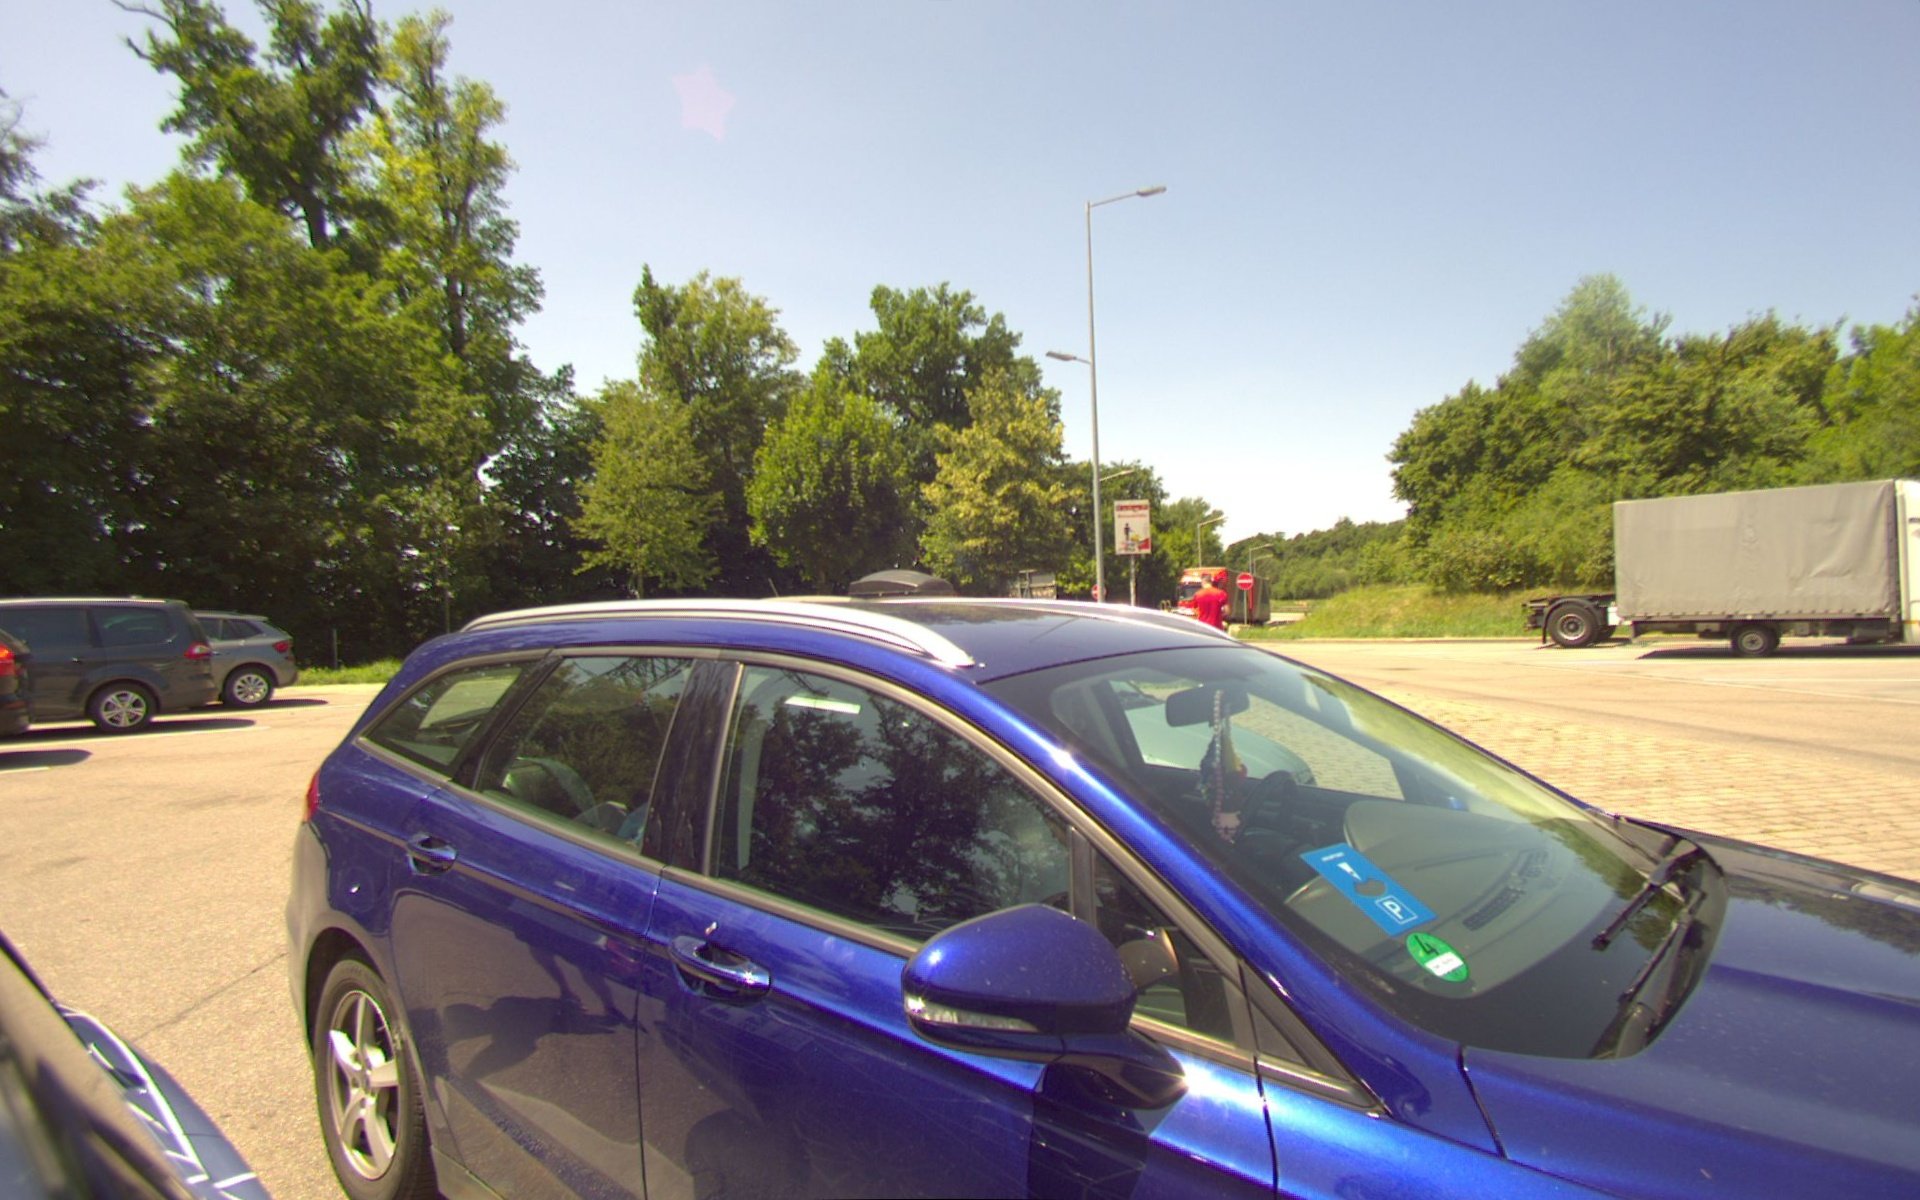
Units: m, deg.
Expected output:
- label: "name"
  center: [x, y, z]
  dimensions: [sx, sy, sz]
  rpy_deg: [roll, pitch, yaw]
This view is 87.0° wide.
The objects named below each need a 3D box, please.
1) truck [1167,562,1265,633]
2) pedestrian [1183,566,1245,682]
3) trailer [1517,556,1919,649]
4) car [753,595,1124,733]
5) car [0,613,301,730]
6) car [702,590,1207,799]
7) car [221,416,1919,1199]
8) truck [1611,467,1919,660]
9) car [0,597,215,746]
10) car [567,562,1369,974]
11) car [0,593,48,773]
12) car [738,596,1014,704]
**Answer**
- label: "truck"
  center: [17.250, -0.169, 67.050]
  dimensions: [3.117, 4.150, 15.263]
  rpy_deg: [-1, 0, 26]
- label: "pedestrian"
  center: [3.967, 0.373, 15.801]
  dimensions: [0.674, 1.746, 0.824]
  rpy_deg: [-2, -1, 33]
- label: "trailer"
  center: [17.254, 0.128, 23.392]
  dimensions: [7.295, 1.701, 2.235]
  rpy_deg: [-4, -1, 43]
- label: "car"
  center: [-0.384, 0.772, 12.756]
  dimensions: [4.485, 1.437, 1.756]
  rpy_deg: [-3, -1, 36]
- label: "car"
  center: [-12.595, 0.999, 15.462]
  dimensions: [1.687, 1.515, 3.943]
  rpy_deg: [-1, 0, 43]
- label: "car"
  center: [-0.243, 0.745, 9.209]
  dimensions: [4.490, 1.437, 1.754]
  rpy_deg: [-3, -1, 40]
- label: "car"
  center: [0.257, 0.655, 2.136]
  dimensions: [4.490, 1.502, 1.851]
  rpy_deg: [-3, 0, 40]
- label: "truck"
  center: [16.829, -0.654, 18.964]
  dimensions: [7.295, 3.259, 2.709]
  rpy_deg: [-4, -1, 43]
- label: "car"
  center: [-11.940, 0.853, 12.298]
  dimensions: [4.553, 1.725, 1.741]
  rpy_deg: [0, -1, -41]
- label: "car"
  center: [-0.255, 0.689, 5.834]
  dimensions: [4.490, 1.511, 1.754]
  rpy_deg: [-3, -1, 40]
- label: "car"
  center: [-11.324, 0.808, 9.143]
  dimensions: [4.546, 1.725, 2.003]
  rpy_deg: [0, 0, -42]
- label: "car"
  center: [-1.476, 0.824, 16.856]
  dimensions: [4.485, 1.562, 1.756]
  rpy_deg: [-3, -1, 36]
